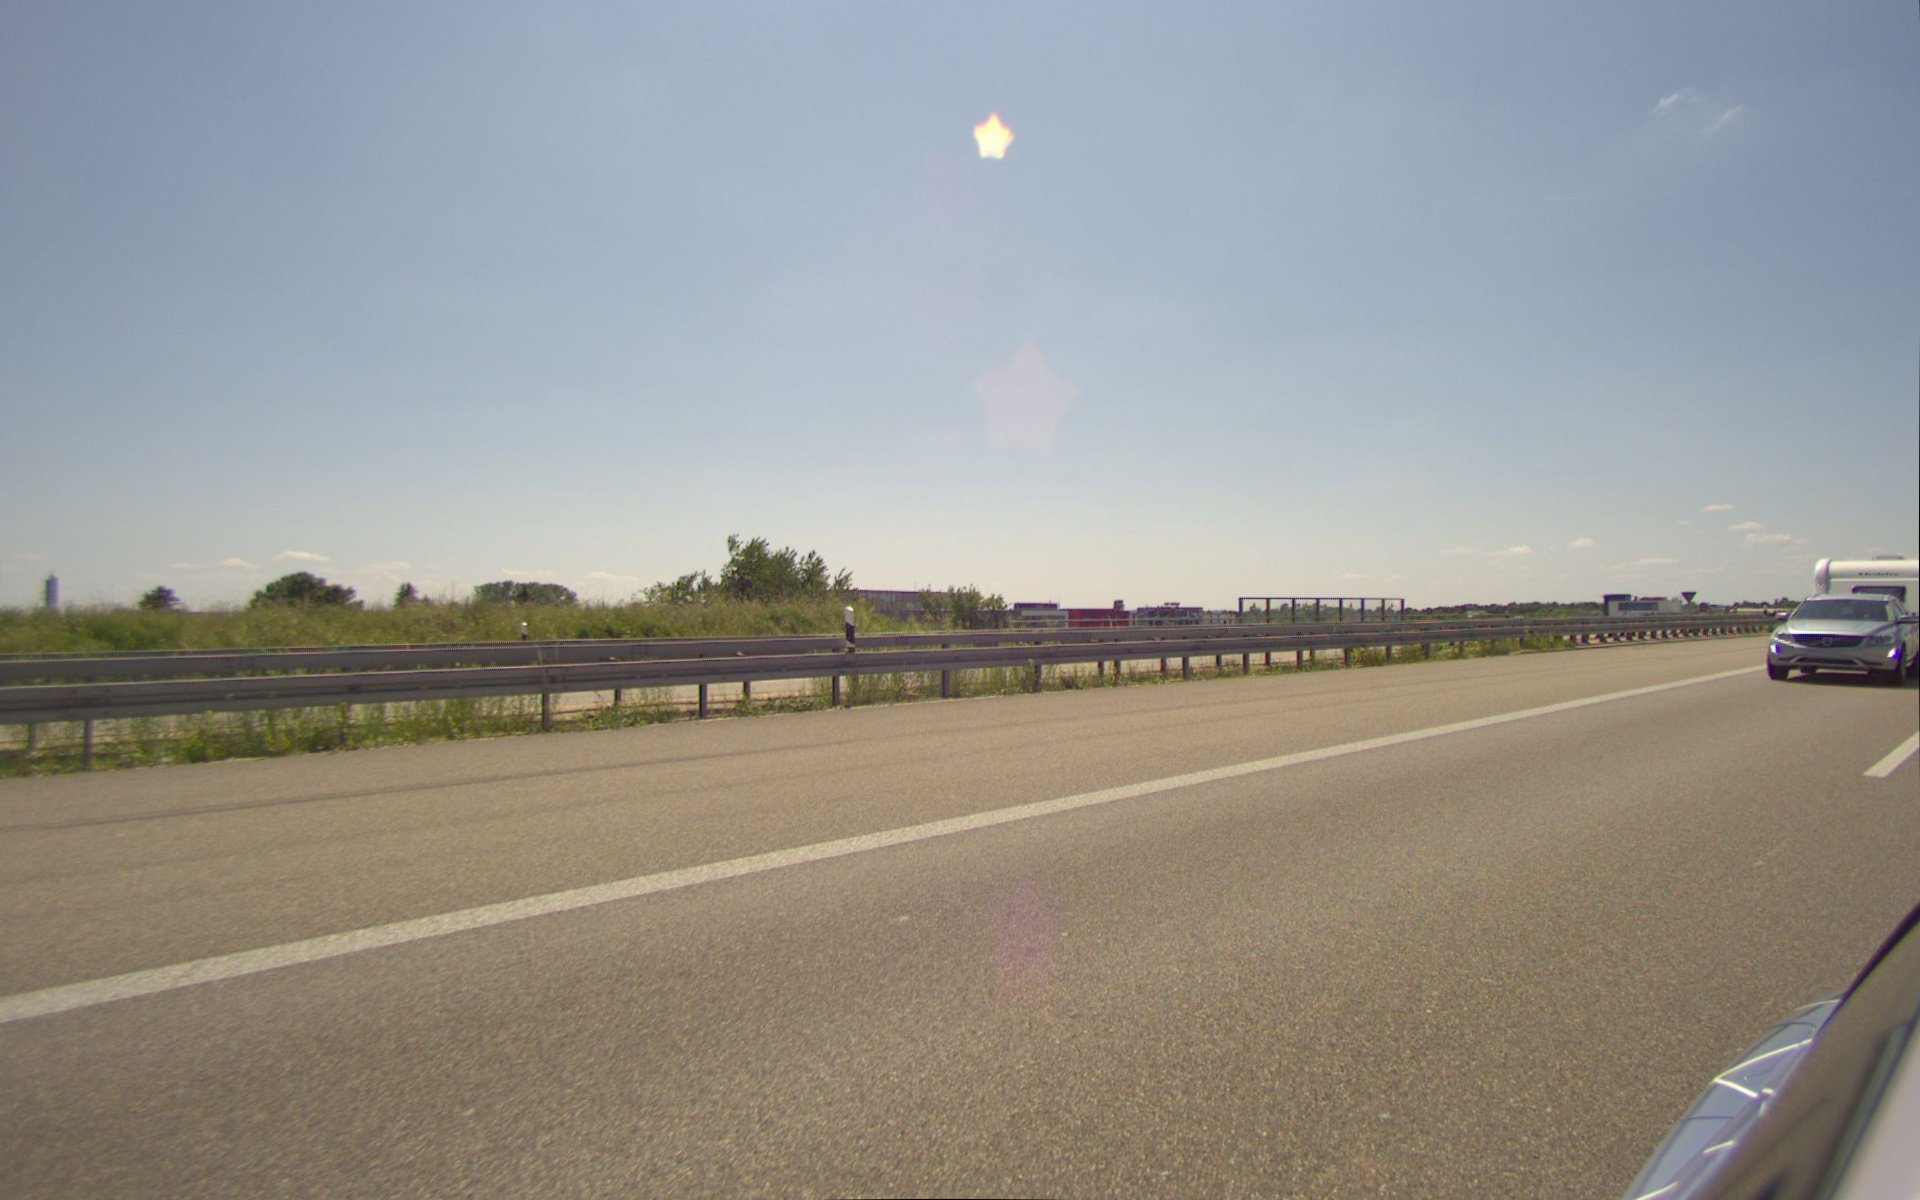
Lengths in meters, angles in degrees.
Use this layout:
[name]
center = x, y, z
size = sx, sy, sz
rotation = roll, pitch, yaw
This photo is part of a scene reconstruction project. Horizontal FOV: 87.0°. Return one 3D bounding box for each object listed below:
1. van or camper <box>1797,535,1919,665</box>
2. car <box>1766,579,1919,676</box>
[van or camper]
center = 21.929, 0.048, 23.465
size = 7.677, 2.626, 2.517
rotation = 1, -1, -40
[car]
center = 17.274, 0.490, 19.422
size = 4.816, 1.643, 1.884
rotation = 1, 0, -40
